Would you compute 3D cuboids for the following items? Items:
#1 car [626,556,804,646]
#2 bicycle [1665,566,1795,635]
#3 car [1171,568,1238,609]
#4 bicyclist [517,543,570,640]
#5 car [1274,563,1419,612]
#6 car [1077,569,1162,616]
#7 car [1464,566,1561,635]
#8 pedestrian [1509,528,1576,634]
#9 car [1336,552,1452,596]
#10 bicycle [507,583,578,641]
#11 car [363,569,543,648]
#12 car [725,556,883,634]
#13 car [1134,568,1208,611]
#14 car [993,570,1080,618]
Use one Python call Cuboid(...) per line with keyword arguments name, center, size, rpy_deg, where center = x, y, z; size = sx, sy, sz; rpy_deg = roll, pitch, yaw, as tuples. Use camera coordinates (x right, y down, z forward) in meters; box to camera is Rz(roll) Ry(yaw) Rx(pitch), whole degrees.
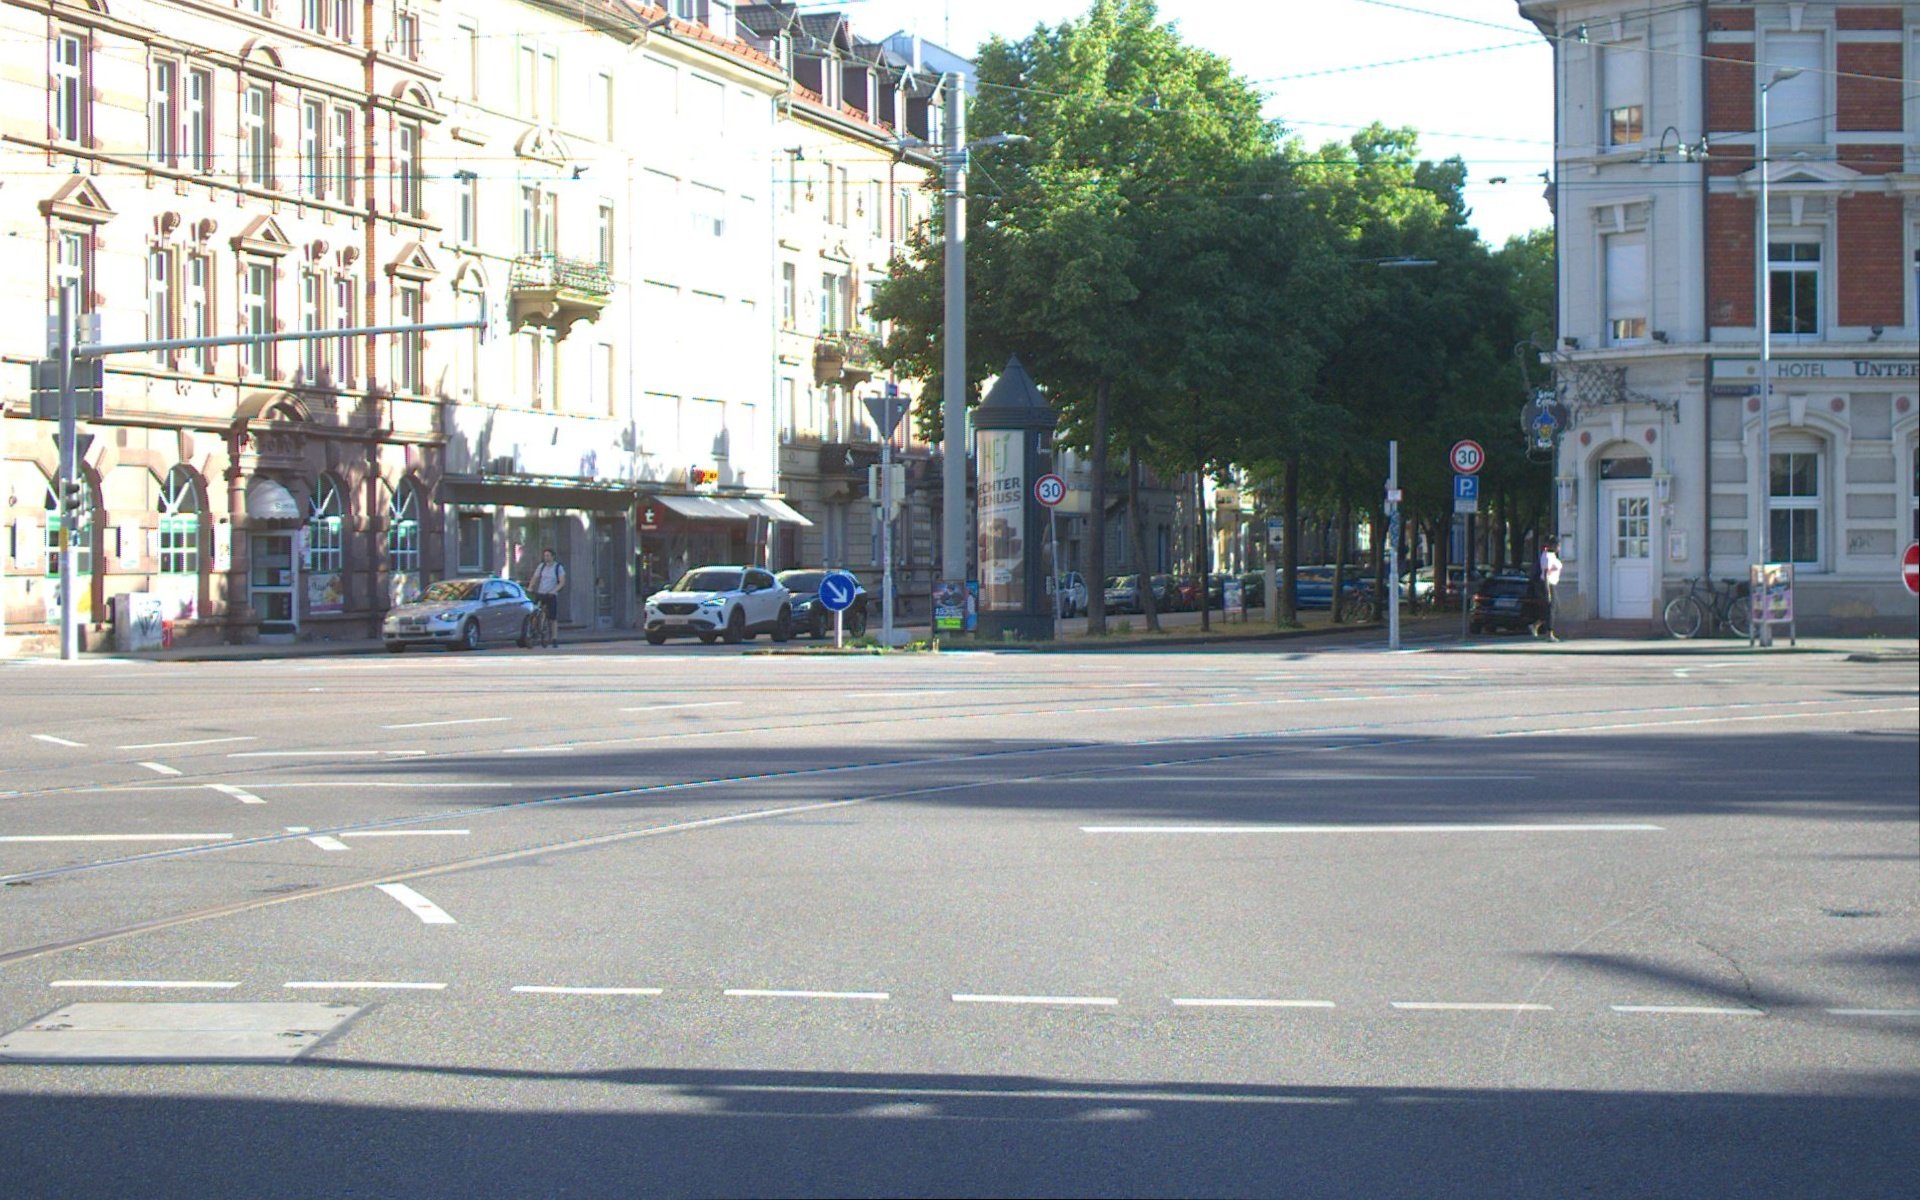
Cuboid(name="car", center=(-4.759, -0.016, 67.341), size=(1.995, 1.678, 4.387), rpy_deg=(0, 1, 17))
Cuboid(name="bicycle", center=(12.861, 0.009, 57.405), size=(2.085, 1.120, 0.367), rpy_deg=(1, 0, -4))
Cuboid(name="car", center=(9.705, -0.463, 136.347), size=(1.766, 1.544, 4.387), rpy_deg=(0, 1, 16))
Cuboid(name="bicyclist", center=(-7.874, -0.161, 65.062), size=(0.679, 1.814, 1.070), rpy_deg=(0, 1, 12))
Cuboid(name="car", center=(12.954, -0.431, 115.248), size=(4.382, 1.606, 1.997), rpy_deg=(0, 1, 27))
Cuboid(name="car", center=(5.712, -0.295, 122.680), size=(1.995, 1.607, 4.387), rpy_deg=(0, 1, 17))
Cuboid(name="car", center=(13.274, -0.010, 82.456), size=(1.995, 1.579, 3.998), rpy_deg=(0, 1, 14))
Cuboid(name="pedestrian", center=(9.647, -0.315, 56.968), size=(1.046, 1.738, 0.808), rpy_deg=(0, 1, 6))
Cuboid(name="car", center=(16.867, -1.011, 133.639), size=(3.993, 1.700, 1.997), rpy_deg=(0, 1, 30))
Cuboid(name="bicycle", center=(-7.884, 0.219, 65.027), size=(0.680, 1.062, 2.124), rpy_deg=(0, 1, 12))
Cuboid(name="car", center=(-9.848, 0.151, 67.066), size=(1.900, 1.450, 3.997), rpy_deg=(0, 1, 17))
Cuboid(name="car", center=(-3.314, -0.134, 73.854), size=(1.995, 1.606, 4.387), rpy_deg=(0, 1, 17))
Cuboid(name="car", center=(8.039, -0.414, 130.470), size=(1.839, 1.547, 4.387), rpy_deg=(0, 1, 17))
Cuboid(name="car", center=(2.492, -0.219, 110.978), size=(1.995, 1.481, 3.998), rpy_deg=(0, 1, 14))
